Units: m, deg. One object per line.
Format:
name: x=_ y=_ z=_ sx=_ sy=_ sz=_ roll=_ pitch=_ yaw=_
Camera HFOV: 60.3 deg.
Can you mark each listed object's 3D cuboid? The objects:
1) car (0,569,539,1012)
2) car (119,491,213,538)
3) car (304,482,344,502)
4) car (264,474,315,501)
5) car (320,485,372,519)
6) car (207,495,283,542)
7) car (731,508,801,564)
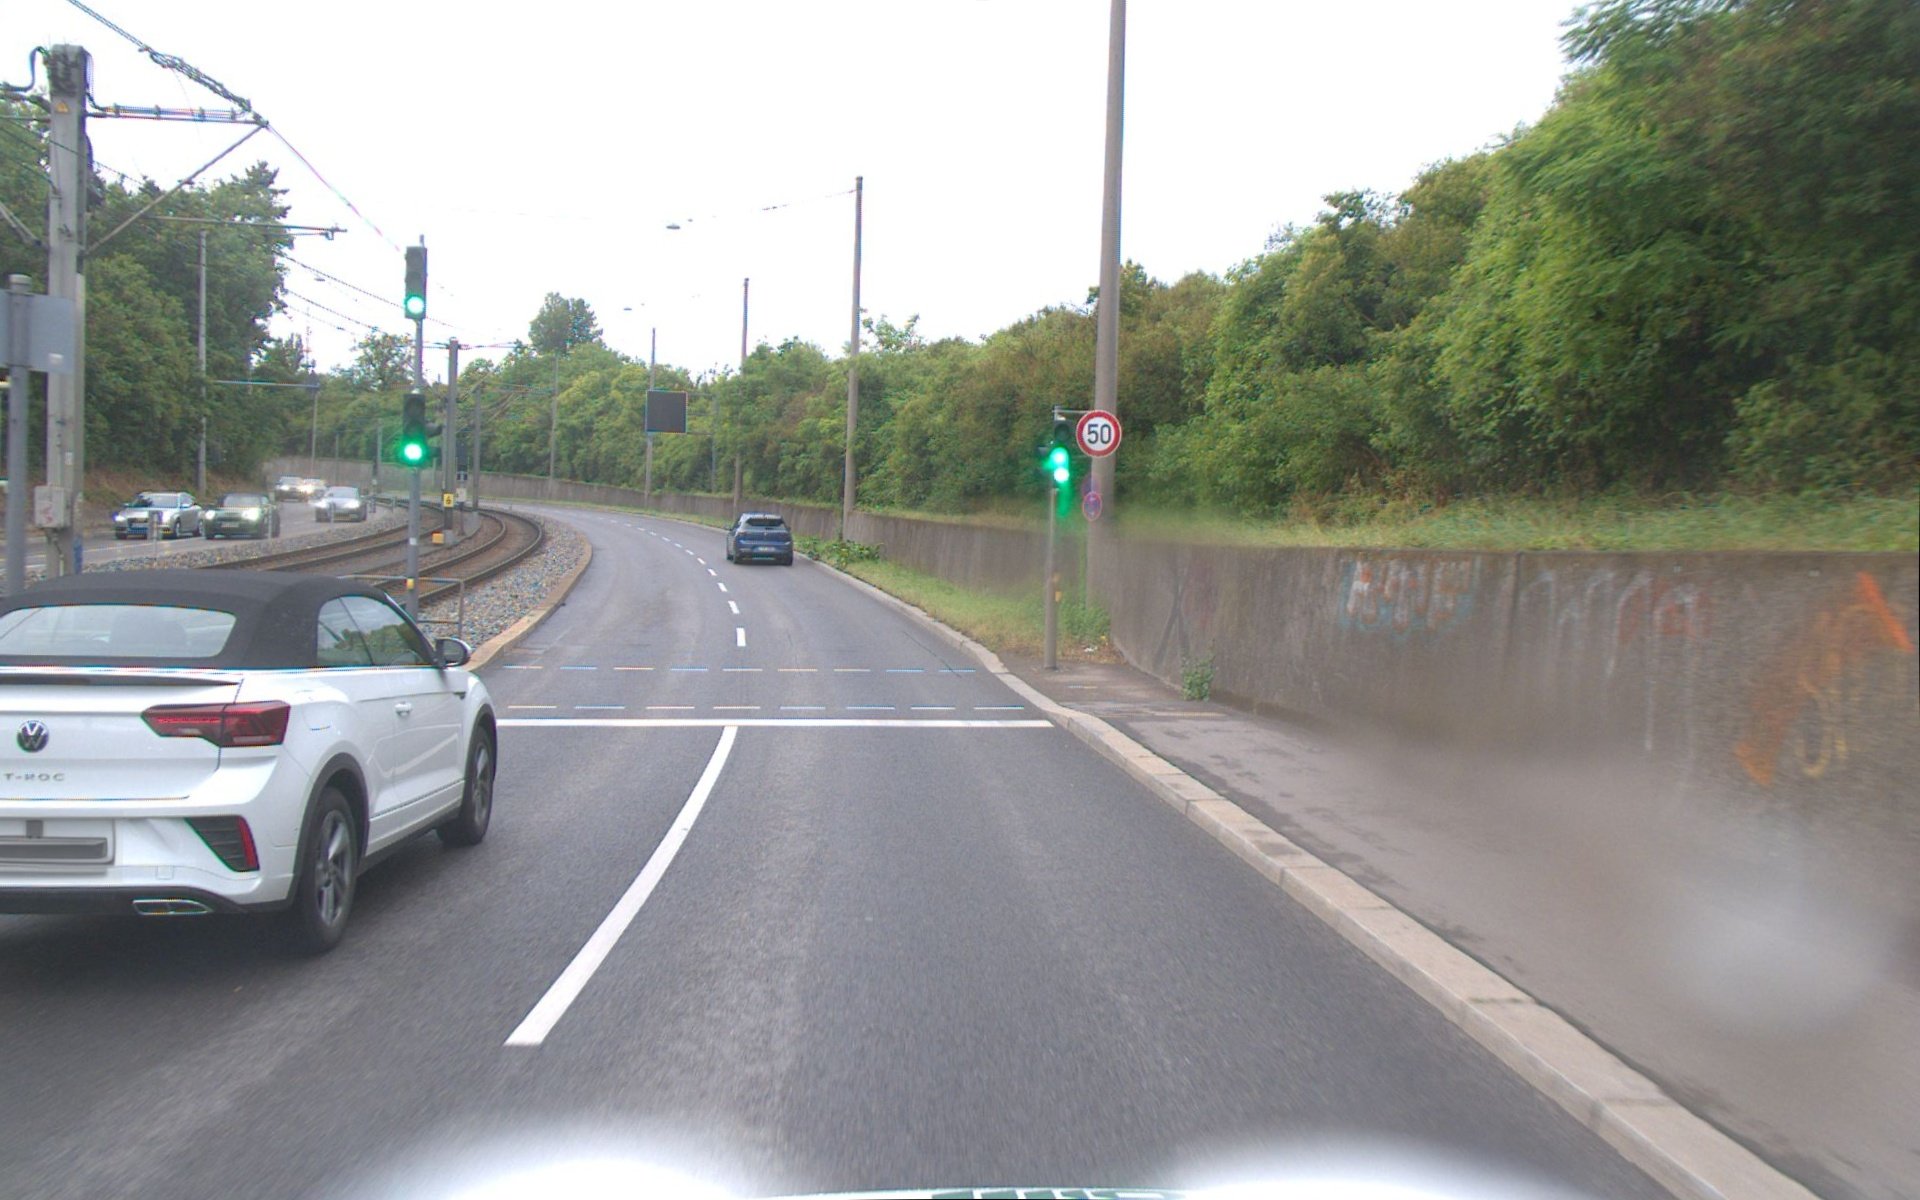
car: x=-3.440 y=0.625 z=8.058 sx=1.834 sy=1.550 sz=4.538 roll=0 pitch=1 yaw=-3
car: x=-25.309 y=-2.758 z=52.869 sx=1.789 sy=1.403 sz=4.689 roll=0 pitch=4 yaw=-14
car: x=-48.376 y=-8.230 z=125.787 sx=1.695 sy=1.439 sz=3.975 roll=-1 pitch=4 yaw=-40
car: x=-46.491 y=-7.811 z=114.572 sx=1.775 sy=1.698 sz=4.667 roll=-2 pitch=5 yaw=-43
car: x=-27.609 y=-4.444 z=74.480 sx=1.832 sy=1.463 sz=4.835 roll=-1 pitch=4 yaw=-17
car: x=-22.794 y=-2.614 z=52.845 sx=1.605 sy=1.408 sz=3.881 roll=-1 pitch=3 yaw=-14
car: x=-5.875 y=-1.962 z=49.708 sx=1.732 sy=1.527 sz=3.991 roll=1 pitch=3 yaw=-12
